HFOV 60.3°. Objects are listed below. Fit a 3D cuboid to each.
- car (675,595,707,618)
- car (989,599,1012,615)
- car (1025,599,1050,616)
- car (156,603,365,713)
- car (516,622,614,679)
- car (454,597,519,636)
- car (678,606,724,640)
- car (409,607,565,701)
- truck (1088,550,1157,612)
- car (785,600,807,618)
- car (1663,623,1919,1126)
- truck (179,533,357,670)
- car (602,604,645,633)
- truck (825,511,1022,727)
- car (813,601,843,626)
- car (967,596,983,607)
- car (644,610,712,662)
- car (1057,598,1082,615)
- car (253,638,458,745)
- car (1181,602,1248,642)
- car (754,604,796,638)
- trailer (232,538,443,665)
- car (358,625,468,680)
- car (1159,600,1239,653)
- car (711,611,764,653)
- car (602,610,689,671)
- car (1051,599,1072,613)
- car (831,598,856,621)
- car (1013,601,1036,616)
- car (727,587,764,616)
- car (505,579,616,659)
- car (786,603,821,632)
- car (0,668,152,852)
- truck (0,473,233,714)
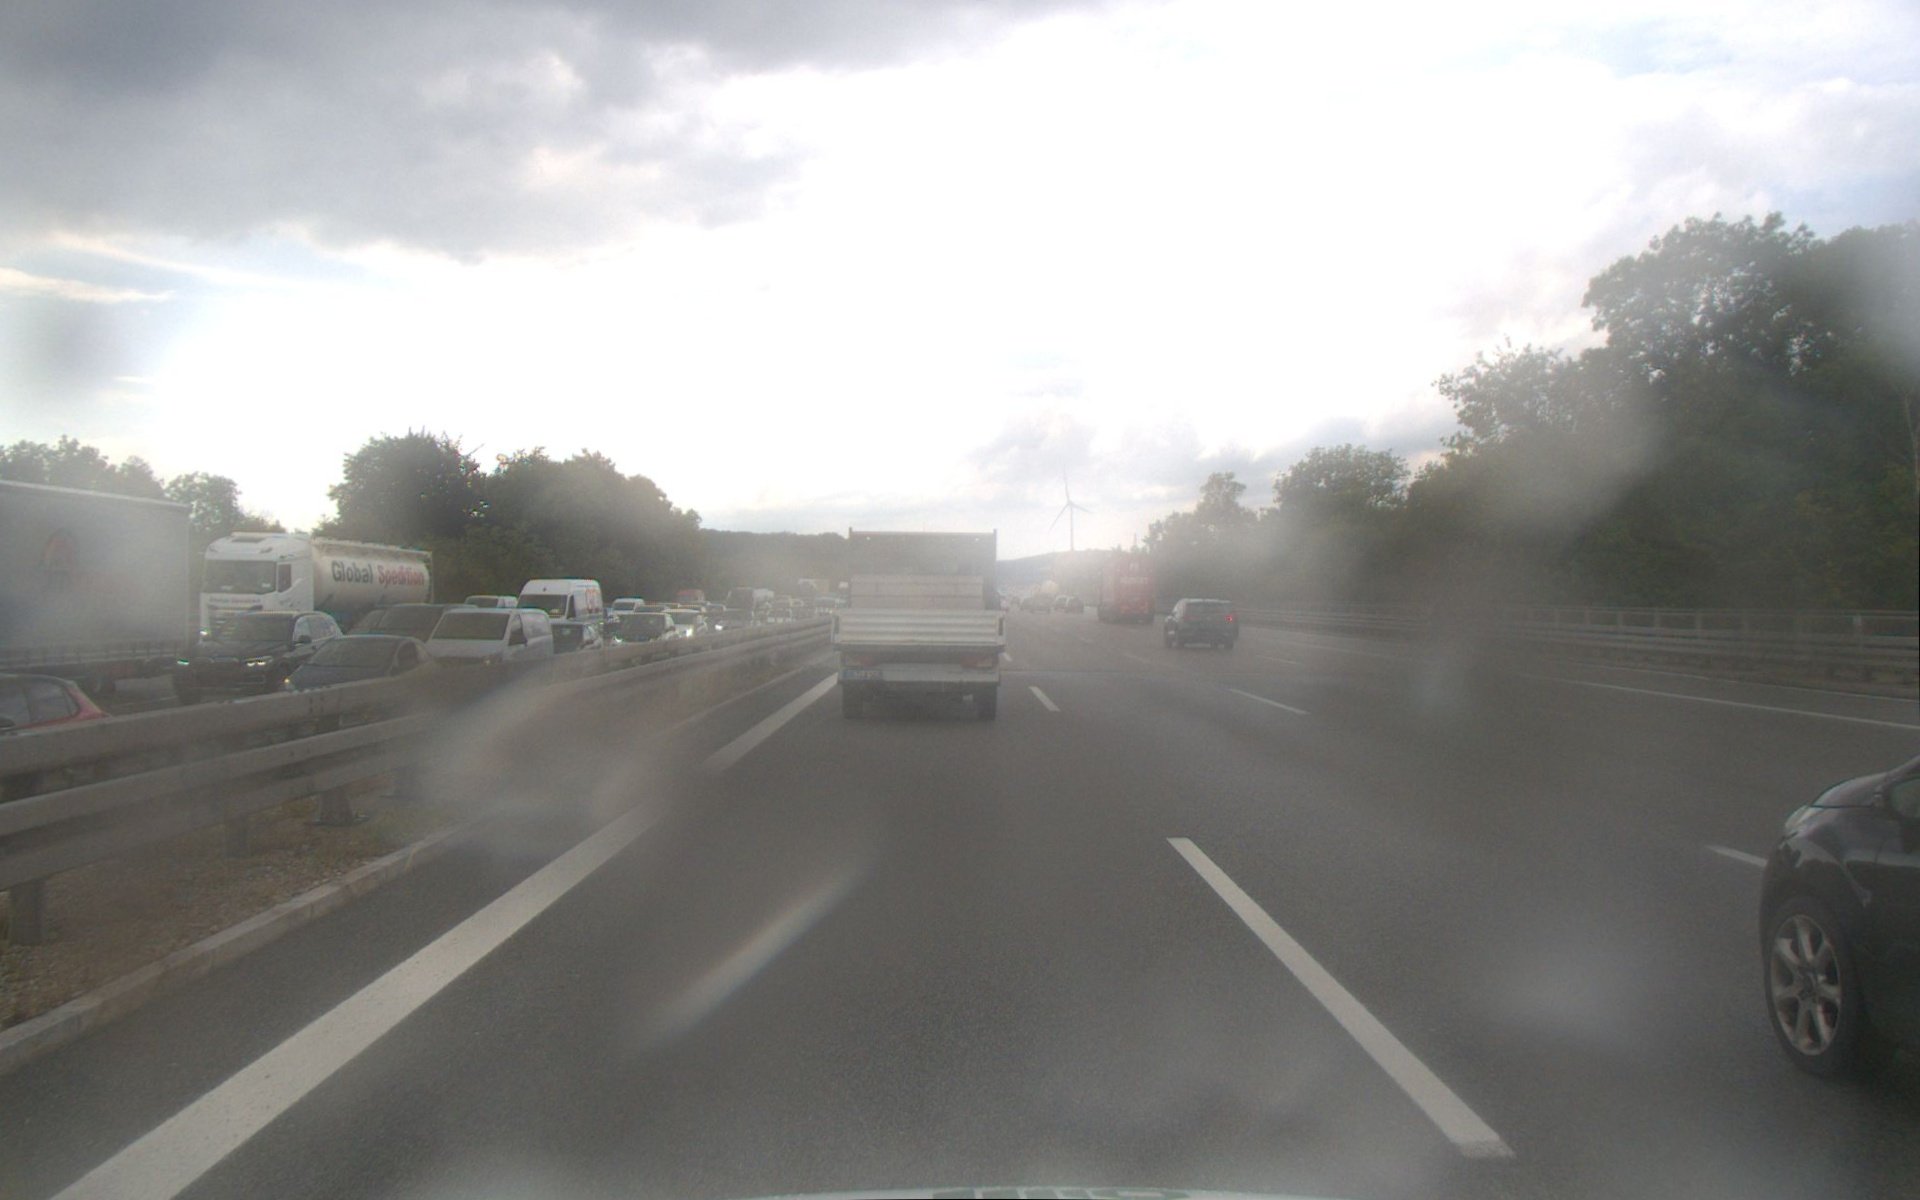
[{"bbox_3d":[-21.827,0.522,134.394,1.855,1.832,4.595,-1,0,-1],"label":"car"},{"bbox_3d":[4.156,0.715,169.234,1.929,1.588,4.430,-1,0,-4],"label":"car"},{"bbox_3d":[7.427,0.749,159.109,1.929,1.588,4.429,-1,0,-4],"label":"car"},{"bbox_3d":[-13.833,1.072,33.126,1.855,1.996,5.586,-1,0,-1],"label":"car"},{"bbox_3d":[-10.042,1.258,42.362,1.589,1.320,4.249,-1,0,-2],"label":"car"},{"bbox_3d":[-22.882,0.766,80.063,1.855,1.832,4.595,-1,0,-1],"label":"car"},{"bbox_3d":[-14.536,1.264,93.057,1.855,1.832,4.595,-1,0,-1],"label":"car"},{"bbox_3d":[-10.184,1.090,36.072,1.855,1.832,5.840,-1,0,-2],"label":"car"},{"bbox_3d":[10.350,-1.244,106.710,3.088,3.664,12.698,1,1,0],"label":"truck"},{"bbox_3d":[-17.079,0.948,171.904,1.855,1.832,4.595,-1,0,-1],"label":"car"},{"bbox_3d":[3.617,0.797,4.282,1.682,1.442,4.277,1,-1,-1],"label":"car"},{"bbox_3d":[-22.118,0.045,53.272,2.962,4.123,6.533,-1,0,0],"label":"truck"},{"bbox_3d":[-22.013,1.197,108.331,1.855,1.832,4.595,-1,0,-1],"label":"car"},{"bbox_3d":[-0.532,0.240,22.711,2.260,2.482,7.145,0,0,-2],"label":"truck"},{"bbox_3d":[-9.701,0.967,121.793,1.855,1.832,4.595,-1,0,-1],"label":"car"},{"bbox_3d":[2.069,0.215,230.692,1.929,1.588,4.430,-1,0,-3],"label":"car"},{"bbox_3d":[-10.465,1.315,61.616,1.855,1.832,4.594,-1,0,-2],"label":"car"},{"bbox_3d":[10.942,0.657,166.034,1.929,1.588,4.429,-1,0,-4],"label":"car"},{"bbox_3d":[-9.888,1.442,27.456,1.855,1.514,4.476,-1,0,-2],"label":"car"},{"bbox_3d":[10.426,0.880,68.108,1.845,1.588,4.430,-1,0,-3],"label":"car"},{"bbox_3d":[-10.413,1.162,93.479,1.855,1.832,4.595,-1,0,-1],"label":"car"},{"bbox_3d":[-22.269,0.060,60.279,2.947,4.103,13.136,-1,0,-1],"label":"trailer"},{"bbox_3d":[-14.457,1.357,43.905,1.589,1.320,4.249,-1,0,-2],"label":"car"},{"bbox_3d":[7.490,0.806,52.161,1.844,1.569,4.432,-1,0,-1],"label":"car"},{"bbox_3d":[-10.316,1.469,76.941,1.855,1.832,4.595,-1,0,-1],"label":"car"},{"bbox_3d":[-10.047,1.249,53.229,1.855,1.832,5.568,-1,0,-2],"label":"car"},{"bbox_3d":[11.559,0.637,188.828,1.929,1.588,4.429,-1,0,-4],"label":"car"},{"bbox_3d":[-9.694,0.766,137.901,1.855,1.832,4.595,-1,0,-1],"label":"car"},{"bbox_3d":[7.070,0.945,181.477,1.929,1.588,4.428,-1,0,-5],"label":"car"},{"bbox_3d":[-14.019,0.082,108.356,1.855,1.832,4.595,-1,0,-1],"label":"car"},{"bbox_3d":[-14.261,0.649,59.595,2.083,2.682,7.609,-1,0,0],"label":"car"},{"bbox_3d":[-10.192,1.145,108.060,1.855,1.832,4.595,-1,0,-1],"label":"car"},{"bbox_3d":[-9.321,1.459,15.028,1.855,1.486,4.476,-1,0,-2],"label":"car"},{"bbox_3d":[-18.082,-0.099,32.030,2.741,4.184,12.292,-1,0,-1],"label":"truck"}]
